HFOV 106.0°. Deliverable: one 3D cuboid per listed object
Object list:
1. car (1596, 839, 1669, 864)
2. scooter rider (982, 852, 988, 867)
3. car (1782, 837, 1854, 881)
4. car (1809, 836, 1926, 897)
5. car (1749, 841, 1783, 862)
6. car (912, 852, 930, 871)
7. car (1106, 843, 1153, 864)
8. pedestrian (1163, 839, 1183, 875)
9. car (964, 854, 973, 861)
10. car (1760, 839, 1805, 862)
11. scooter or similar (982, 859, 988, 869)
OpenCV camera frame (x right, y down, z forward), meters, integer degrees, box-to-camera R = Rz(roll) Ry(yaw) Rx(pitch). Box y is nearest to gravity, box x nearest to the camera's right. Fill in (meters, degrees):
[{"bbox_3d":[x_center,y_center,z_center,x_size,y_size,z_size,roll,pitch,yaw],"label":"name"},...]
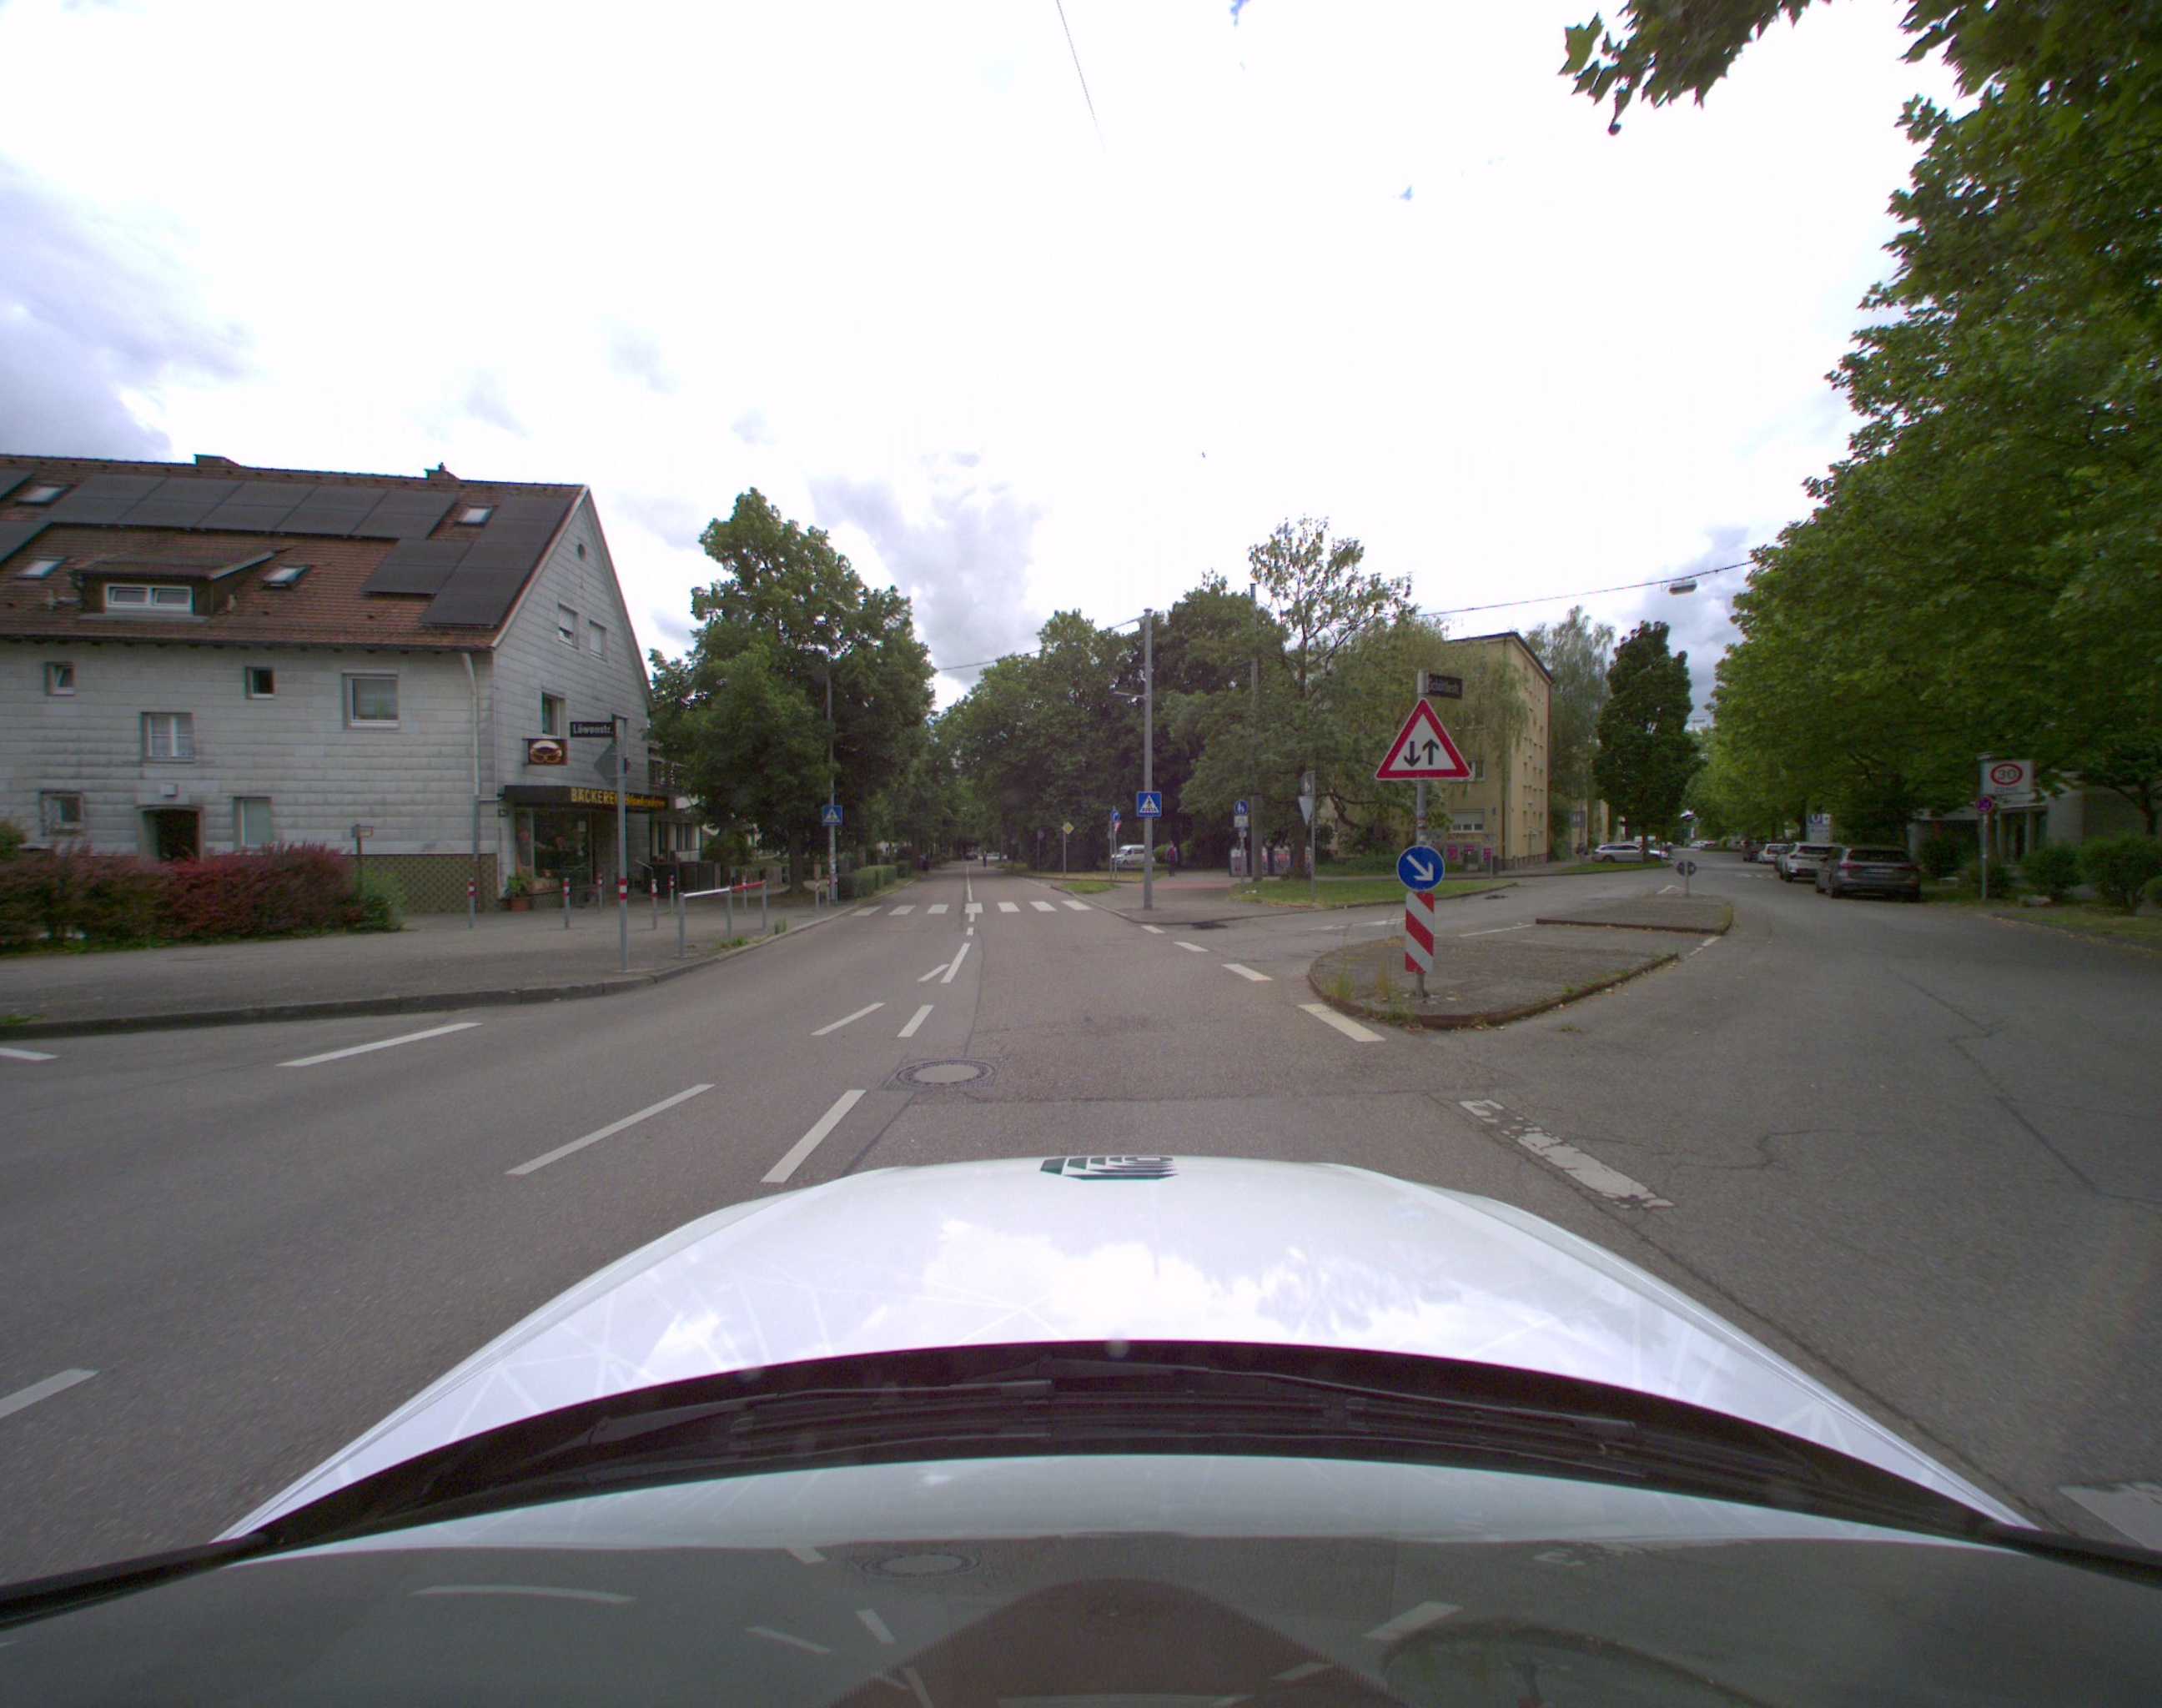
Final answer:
[{"bbox_3d":[38.943,-0.138,57.567,4.153,1.576,1.829,-3,-2,36],"label":"car"},{"bbox_3d":[-10.818,0.614,91.555,0.600,1.552,0.565,-2,1,-6],"label":"scooter rider"},{"bbox_3d":[29.282,0.190,32.466,1.761,1.597,4.275,2,1,37],"label":"car"},{"bbox_3d":[22.802,0.328,23.761,1.856,1.568,4.044,3,2,36],"label":"car"},{"bbox_3d":[53.331,-0.195,63.457,1.765,1.448,4.114,3,2,36],"label":"car"},{"bbox_3d":[-15.755,0.699,80.149,1.644,1.724,3.785,2,1,-12],"label":"car"},{"bbox_3d":[5.624,-0.047,94.032,5.415,2.297,2.112,1,2,-43],"label":"car"},{"bbox_3d":[5.069,0.174,45.060,0.919,1.871,1.020,-4,3,4],"label":"pedestrian"},{"bbox_3d":[-25.868,0.750,187.173,1.833,1.498,3.646,2,1,-9],"label":"car"},{"bbox_3d":[49.917,-0.235,57.999,1.766,1.486,3.657,3,2,31],"label":"car"},{"bbox_3d":[-10.789,1.075,91.413,0.600,1.054,0.871,-2,2,-6],"label":"scooter or similar"}]
